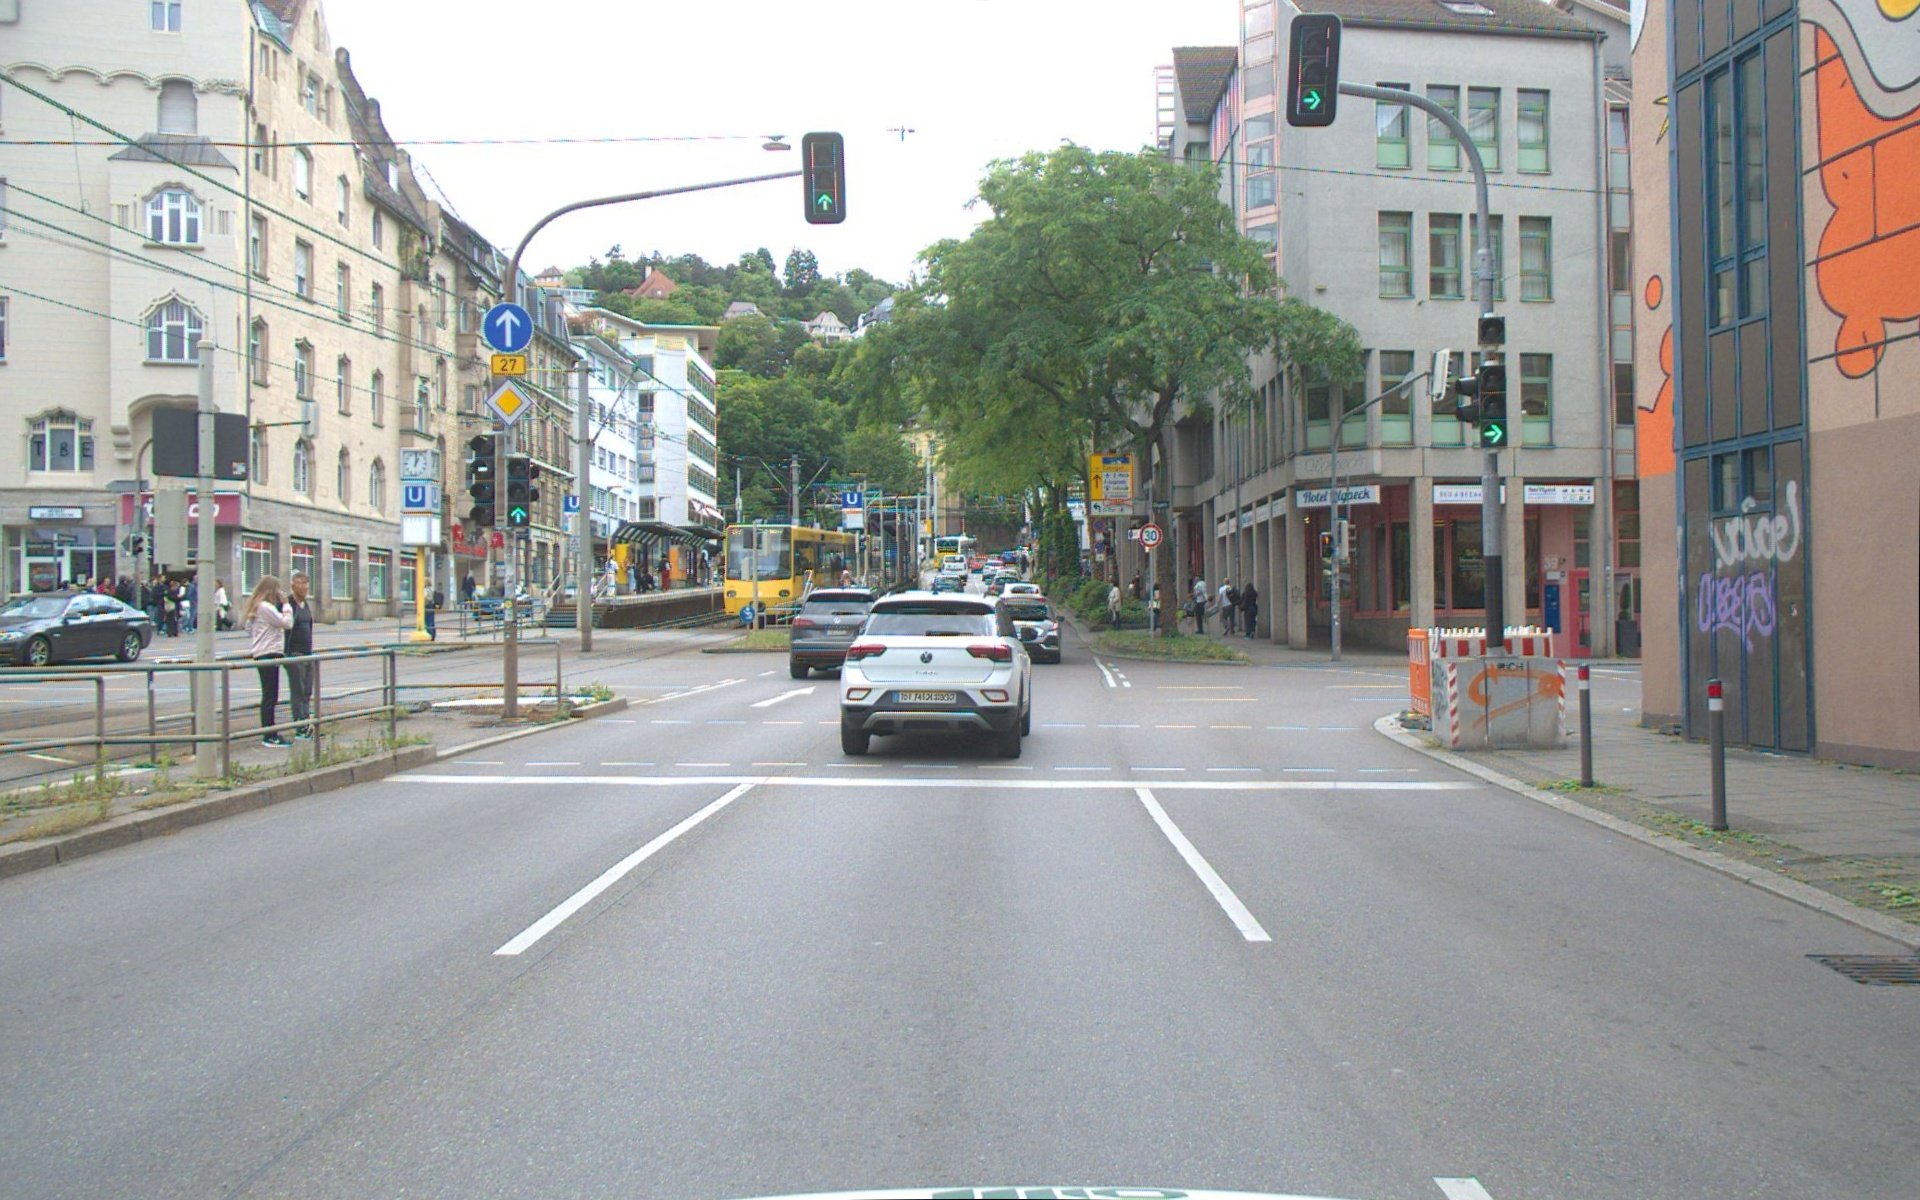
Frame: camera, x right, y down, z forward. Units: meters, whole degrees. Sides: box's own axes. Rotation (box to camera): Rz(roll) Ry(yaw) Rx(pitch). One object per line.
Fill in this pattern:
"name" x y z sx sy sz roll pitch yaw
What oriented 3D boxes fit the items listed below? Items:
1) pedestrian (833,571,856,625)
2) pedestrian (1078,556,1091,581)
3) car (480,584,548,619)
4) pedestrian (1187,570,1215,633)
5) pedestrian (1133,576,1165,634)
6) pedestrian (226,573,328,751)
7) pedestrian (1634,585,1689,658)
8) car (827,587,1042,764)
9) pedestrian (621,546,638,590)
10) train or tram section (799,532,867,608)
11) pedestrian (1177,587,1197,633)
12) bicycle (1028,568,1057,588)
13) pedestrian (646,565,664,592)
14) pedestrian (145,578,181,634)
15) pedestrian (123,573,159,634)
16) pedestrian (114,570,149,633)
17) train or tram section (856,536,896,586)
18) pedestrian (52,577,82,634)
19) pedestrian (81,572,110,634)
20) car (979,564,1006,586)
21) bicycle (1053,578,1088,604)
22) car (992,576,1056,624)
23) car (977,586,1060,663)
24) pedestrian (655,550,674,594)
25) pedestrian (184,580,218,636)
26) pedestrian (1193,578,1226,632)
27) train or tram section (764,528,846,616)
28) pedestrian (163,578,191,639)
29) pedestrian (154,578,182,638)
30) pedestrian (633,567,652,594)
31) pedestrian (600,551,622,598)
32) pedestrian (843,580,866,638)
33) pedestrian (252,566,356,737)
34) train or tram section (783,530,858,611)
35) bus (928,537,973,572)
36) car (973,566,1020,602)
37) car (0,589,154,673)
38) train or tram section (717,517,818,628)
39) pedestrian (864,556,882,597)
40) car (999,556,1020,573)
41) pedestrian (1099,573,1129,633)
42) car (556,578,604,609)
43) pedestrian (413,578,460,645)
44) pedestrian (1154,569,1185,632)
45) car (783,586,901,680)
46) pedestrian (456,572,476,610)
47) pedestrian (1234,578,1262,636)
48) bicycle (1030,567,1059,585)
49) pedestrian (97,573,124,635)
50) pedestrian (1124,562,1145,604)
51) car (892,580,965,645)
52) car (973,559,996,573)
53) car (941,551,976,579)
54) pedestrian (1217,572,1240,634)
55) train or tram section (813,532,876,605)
"pedestrian" -3.787 -0.063 54.314 0.671 1.741 0.712 0 1 1
"pedestrian" 8.386 -2.130 111.401 0.626 1.643 0.584 1 0 -20
"car" -19.145 0.027 71.136 1.597 1.399 3.786 -2 0 5
"pedestrian" 7.346 0.030 50.452 0.719 1.907 0.733 0 0 -3
"pedestrian" 5.871 0.146 51.365 0.819 1.733 0.764 -2 1 -3
"pedestrian" -6.873 0.610 16.665 0.749 1.751 0.637 0 0 0
"pedestrian" 17.098 0.514 40.309 1.103 1.742 0.853 0 0 36
"car" -0.135 0.693 17.247 1.798 1.611 4.159 0 0 5
"pedestrian" -13.126 -1.263 65.701 0.623 1.741 0.689 0 1 -8
"train or tram section" -6.265 -1.496 82.438 2.776 3.582 5.753 1 1 1
"pedestrian" 6.715 0.303 48.956 0.462 1.357 0.519 1 0 -3
"bicycle" 5.440 -1.458 109.018 1.840 1.288 0.765 1 0 12
"pedestrian" -12.963 -0.928 70.209 0.622 1.127 0.690 0 1 1
"pedestrian" -24.751 0.174 51.379 0.765 1.735 0.654 0 0 6
"pedestrian" -24.824 0.098 50.122 0.773 1.811 0.666 0 0 32
"pedestrian" -24.155 0.038 48.246 0.694 1.811 0.596 0 0 17
"train or tram section" -6.493 -3.035 129.028 2.755 3.730 6.752 1 1 0
"pedestrian" -25.494 0.149 47.231 0.563 1.610 0.511 0 0 2
"pedestrian" -25.386 0.097 48.579 0.499 1.811 0.577 0 0 7
"car" 2.571 -1.979 131.354 1.847 1.713 4.158 1 0 -4
"bicycle" 5.136 -0.413 77.049 1.586 1.147 0.614 -2 1 4
"car" 2.356 -0.004 62.181 1.848 1.713 4.156 1 0 -6
"car" 1.348 0.549 39.533 1.846 1.713 4.161 1 0 0
"pedestrian" -12.245 -1.147 68.507 0.614 1.793 0.847 0 0 2
"pedestrian" -23.247 0.241 50.659 0.659 1.706 0.691 0 0 19
"pedestrian" 7.461 0.156 49.525 0.819 1.590 0.764 1 0 -3
"train or tram section" -6.569 -1.223 70.898 2.776 3.582 5.753 1 1 1
"pedestrian" -23.139 0.248 48.897 0.499 1.811 0.577 0 0 15
"pedestrian" -24.006 0.233 50.132 0.500 1.811 0.575 0 0 31
"pedestrian" -13.170 -0.808 68.638 0.622 1.127 0.690 0 1 1
"pedestrian" -12.992 -0.967 61.622 0.674 1.741 0.662 0 1 0
"pedestrian" -3.193 0.273 50.129 0.622 1.741 0.872 0 1 1
"pedestrian" -6.863 0.520 17.338 0.775 1.751 0.772 0 0 0
"train or tram section" -6.406 -1.375 76.679 2.776 3.582 5.753 1 1 1
"bus" -0.817 -4.419 162.682 3.301 3.118 13.332 1 0 4
"car" 2.138 -0.910 97.813 2.318 2.049 5.144 1 0 -4
"car" -18.516 0.580 33.683 1.622 1.579 4.538 0 1 6
"train or tram section" -6.840 -0.988 59.378 2.776 3.743 5.753 1 1 1
"pedestrian" -3.835 -1.027 72.703 0.703 1.761 0.671 1 0 2
"car" 5.315 -3.774 176.294 1.845 1.713 4.164 1 0 7
"pedestrian" 4.762 0.088 51.151 0.679 1.808 0.689 -5 1 -3
"car" -19.804 -0.355 86.347 1.526 1.550 3.601 1 0 3
"pedestrian" -13.692 0.298 43.245 0.858 1.735 0.811 0 0 30
"pedestrian" 6.309 0.001 49.841 0.707 1.834 0.834 -2 3 -3
"car" -2.195 0.590 31.654 1.953 1.664 4.000 0 0 0
"pedestrian" -23.196 -0.421 77.664 0.623 1.793 0.834 0 0 -42
"pedestrian" 8.396 0.188 48.279 0.745 1.640 0.619 -1 3 12
"bicycle" 5.632 -1.598 110.508 1.841 1.157 0.809 1 0 7
"pedestrian" -25.279 0.118 49.228 0.499 1.811 0.577 0 0 3
"pedestrian" 7.692 -0.748 72.955 0.747 1.813 0.847 -2 3 -4
"car" -0.908 0.341 49.455 1.872 1.718 4.002 1 2 3
"car" 2.296 -3.160 154.467 1.548 1.193 3.682 1 0 11
"car" -0.091 -2.658 127.215 2.315 2.049 5.151 1 0 4
"pedestrian" 8.041 0.092 49.552 0.508 1.820 0.764 1 0 -3
"train or tram section" -6.122 -1.697 88.276 2.755 3.730 5.904 1 1 1
